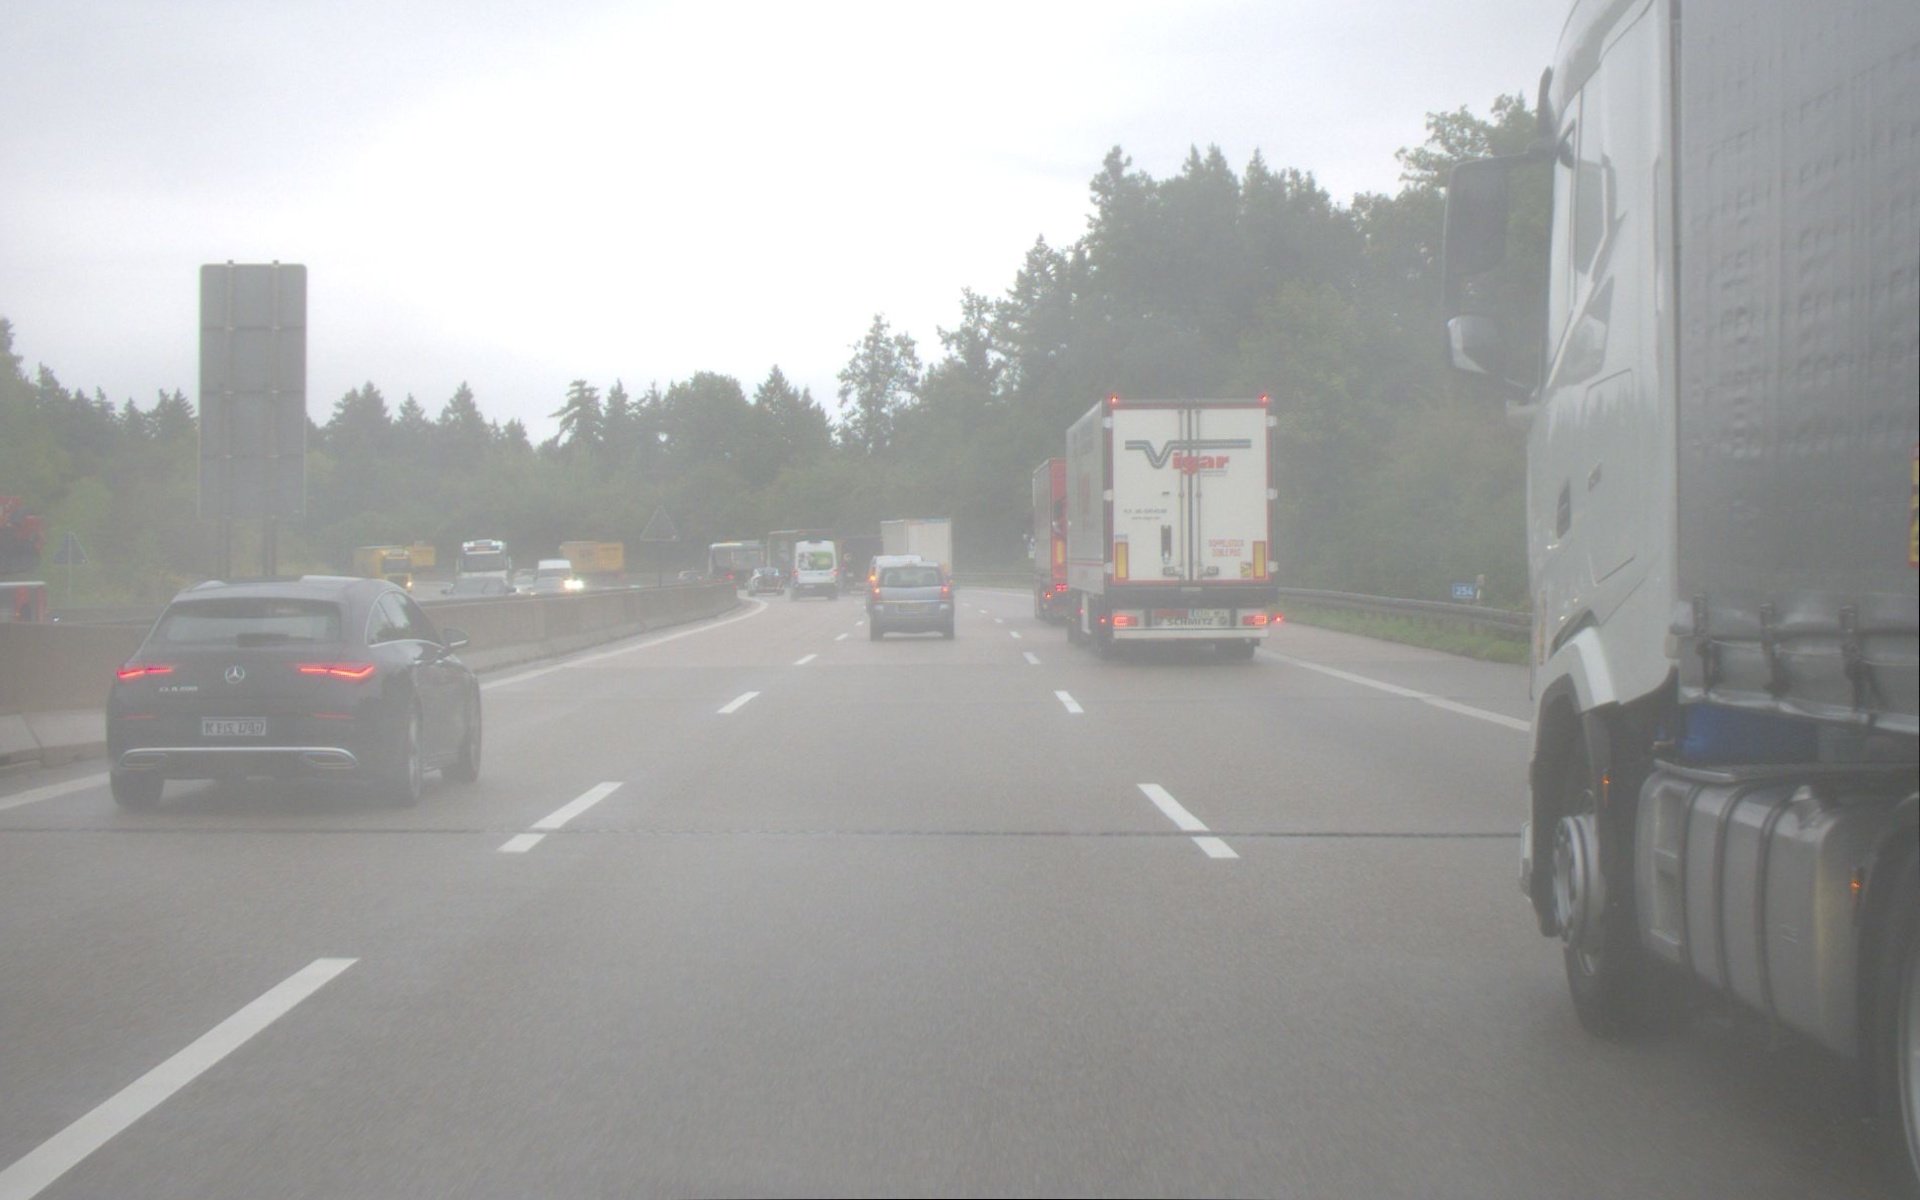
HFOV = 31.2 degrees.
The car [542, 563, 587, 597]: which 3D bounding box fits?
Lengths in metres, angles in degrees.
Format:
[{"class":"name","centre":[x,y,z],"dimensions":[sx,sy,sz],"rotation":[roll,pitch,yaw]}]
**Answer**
[{"class":"car","centre":[-18.614,-0.962,161.795],"dimensions":[1.608,1.548,4.642],"rotation":[-1,1,-1]}]

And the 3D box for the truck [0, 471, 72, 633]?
[{"class":"truck","centre":[-19.984,-0.944,67.357],"dimensions":[2.432,3.163,10.662],"rotation":[0,1,0]}]

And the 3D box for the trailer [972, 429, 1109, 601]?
[{"class":"trailer","centre":[1.891,-2.063,85.801],"dimensions":[2.370,3.940,12.522],"rotation":[-1,1,-3]}]

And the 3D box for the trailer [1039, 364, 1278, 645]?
[{"class":"trailer","centre":[3.102,-1.508,57.698],"dimensions":[2.734,4.089,13.684],"rotation":[-1,1,-2]}]

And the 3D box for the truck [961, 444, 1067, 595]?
[{"class":"truck","centre":[1.445,-2.185,94.178],"dimensions":[2.374,3.940,6.161],"rotation":[-2,1,-3]}]

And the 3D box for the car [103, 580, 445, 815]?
[{"class":"car","centre":[-4.334,0.565,22.188],"dimensions":[1.553,1.347,3.684],"rotation":[1,1,-2]}]

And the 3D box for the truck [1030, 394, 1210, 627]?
[{"class":"truck","centre":[2.911,-1.640,64.186],"dimensions":[2.798,4.089,5.968],"rotation":[-1,1,-2]}]

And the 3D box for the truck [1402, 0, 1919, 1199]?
[{"class":"truck","centre":[3.036,-0.617,9.713],"dimensions":[2.721,4.027,5.753],"rotation":[1,1,-1]}]

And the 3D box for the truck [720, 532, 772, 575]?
[{"class":"truck","centre":[-15.441,-3.396,247.593],"dimensions":[3.082,2.895,7.905],"rotation":[-1,2,-8]}]

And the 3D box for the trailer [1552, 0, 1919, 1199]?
[{"class":"trailer","centre":[3.094,-0.542,2.746],"dimensions":[2.679,4.027,13.705],"rotation":[1,1,-1]}]

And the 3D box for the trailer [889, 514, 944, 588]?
[{"class":"trailer","centre":[-2.519,-2.853,195.472],"dimensions":[2.419,4.054,12.057],"rotation":[-1,1,-4]}]

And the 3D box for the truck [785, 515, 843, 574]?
[{"class":"truck","centre":[-10.567,-4.053,247.329],"dimensions":[3.368,4.117,10.440],"rotation":[-1,1,-7]}]

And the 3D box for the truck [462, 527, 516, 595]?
[{"class":"truck","centre":[-26.225,-2.187,191.596],"dimensions":[2.563,3.654,10.494],"rotation":[-1,1,-6]}]

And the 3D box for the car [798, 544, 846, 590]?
[{"class":"car","centre":[-6.401,-1.526,159.451],"dimensions":[1.993,2.052,4.001],"rotation":[-2,1,-5]}]

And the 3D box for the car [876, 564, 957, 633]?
[{"class":"car","centre":[-0.879,-0.049,71.125],"dimensions":[1.554,1.347,3.683],"rotation":[1,1,1]}]
